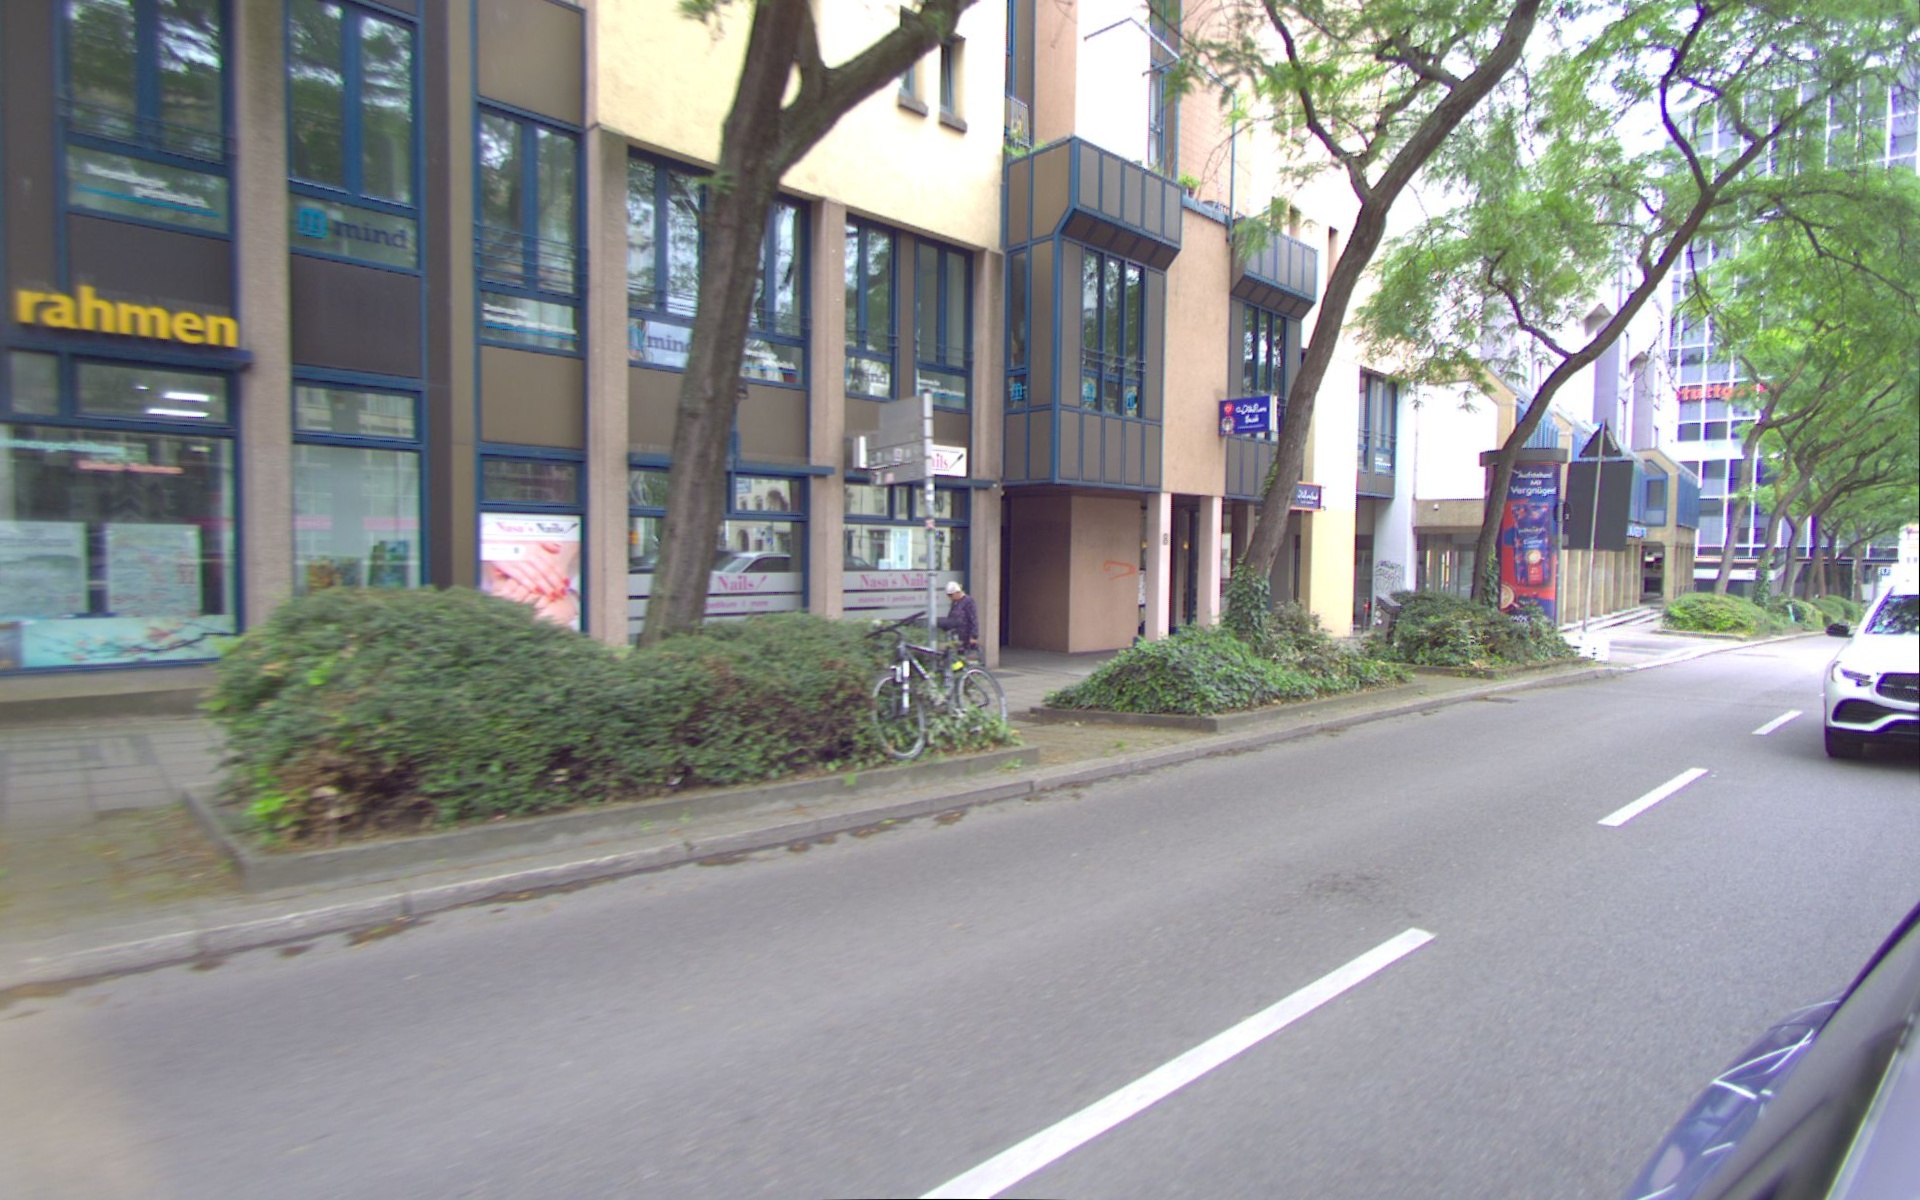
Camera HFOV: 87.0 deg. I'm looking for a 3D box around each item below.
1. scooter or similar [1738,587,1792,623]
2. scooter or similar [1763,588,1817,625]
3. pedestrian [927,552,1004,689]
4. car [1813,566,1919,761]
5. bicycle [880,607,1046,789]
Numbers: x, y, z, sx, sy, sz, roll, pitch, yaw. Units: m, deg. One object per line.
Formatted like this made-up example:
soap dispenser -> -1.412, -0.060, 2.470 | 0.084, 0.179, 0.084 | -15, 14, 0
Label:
scooter or similar -> 33.518, 0.201, 42.139 | 1.575, 1.452, 0.728 | 1, 1, 17
scooter or similar -> 33.300, 0.243, 40.632 | 1.513, 1.452, 0.685 | 1, 1, 17
pedestrian -> 0.073, 0.250, 13.227 | 0.675, 1.732, 0.712 | 1, 1, -36
car -> 9.636, 0.516, 9.499 | 3.861, 1.628, 2.057 | -1, 1, -43
bicycle -> 0.063, 0.686, 7.708 | 0.361, 1.216, 1.548 | 3, 2, 38
